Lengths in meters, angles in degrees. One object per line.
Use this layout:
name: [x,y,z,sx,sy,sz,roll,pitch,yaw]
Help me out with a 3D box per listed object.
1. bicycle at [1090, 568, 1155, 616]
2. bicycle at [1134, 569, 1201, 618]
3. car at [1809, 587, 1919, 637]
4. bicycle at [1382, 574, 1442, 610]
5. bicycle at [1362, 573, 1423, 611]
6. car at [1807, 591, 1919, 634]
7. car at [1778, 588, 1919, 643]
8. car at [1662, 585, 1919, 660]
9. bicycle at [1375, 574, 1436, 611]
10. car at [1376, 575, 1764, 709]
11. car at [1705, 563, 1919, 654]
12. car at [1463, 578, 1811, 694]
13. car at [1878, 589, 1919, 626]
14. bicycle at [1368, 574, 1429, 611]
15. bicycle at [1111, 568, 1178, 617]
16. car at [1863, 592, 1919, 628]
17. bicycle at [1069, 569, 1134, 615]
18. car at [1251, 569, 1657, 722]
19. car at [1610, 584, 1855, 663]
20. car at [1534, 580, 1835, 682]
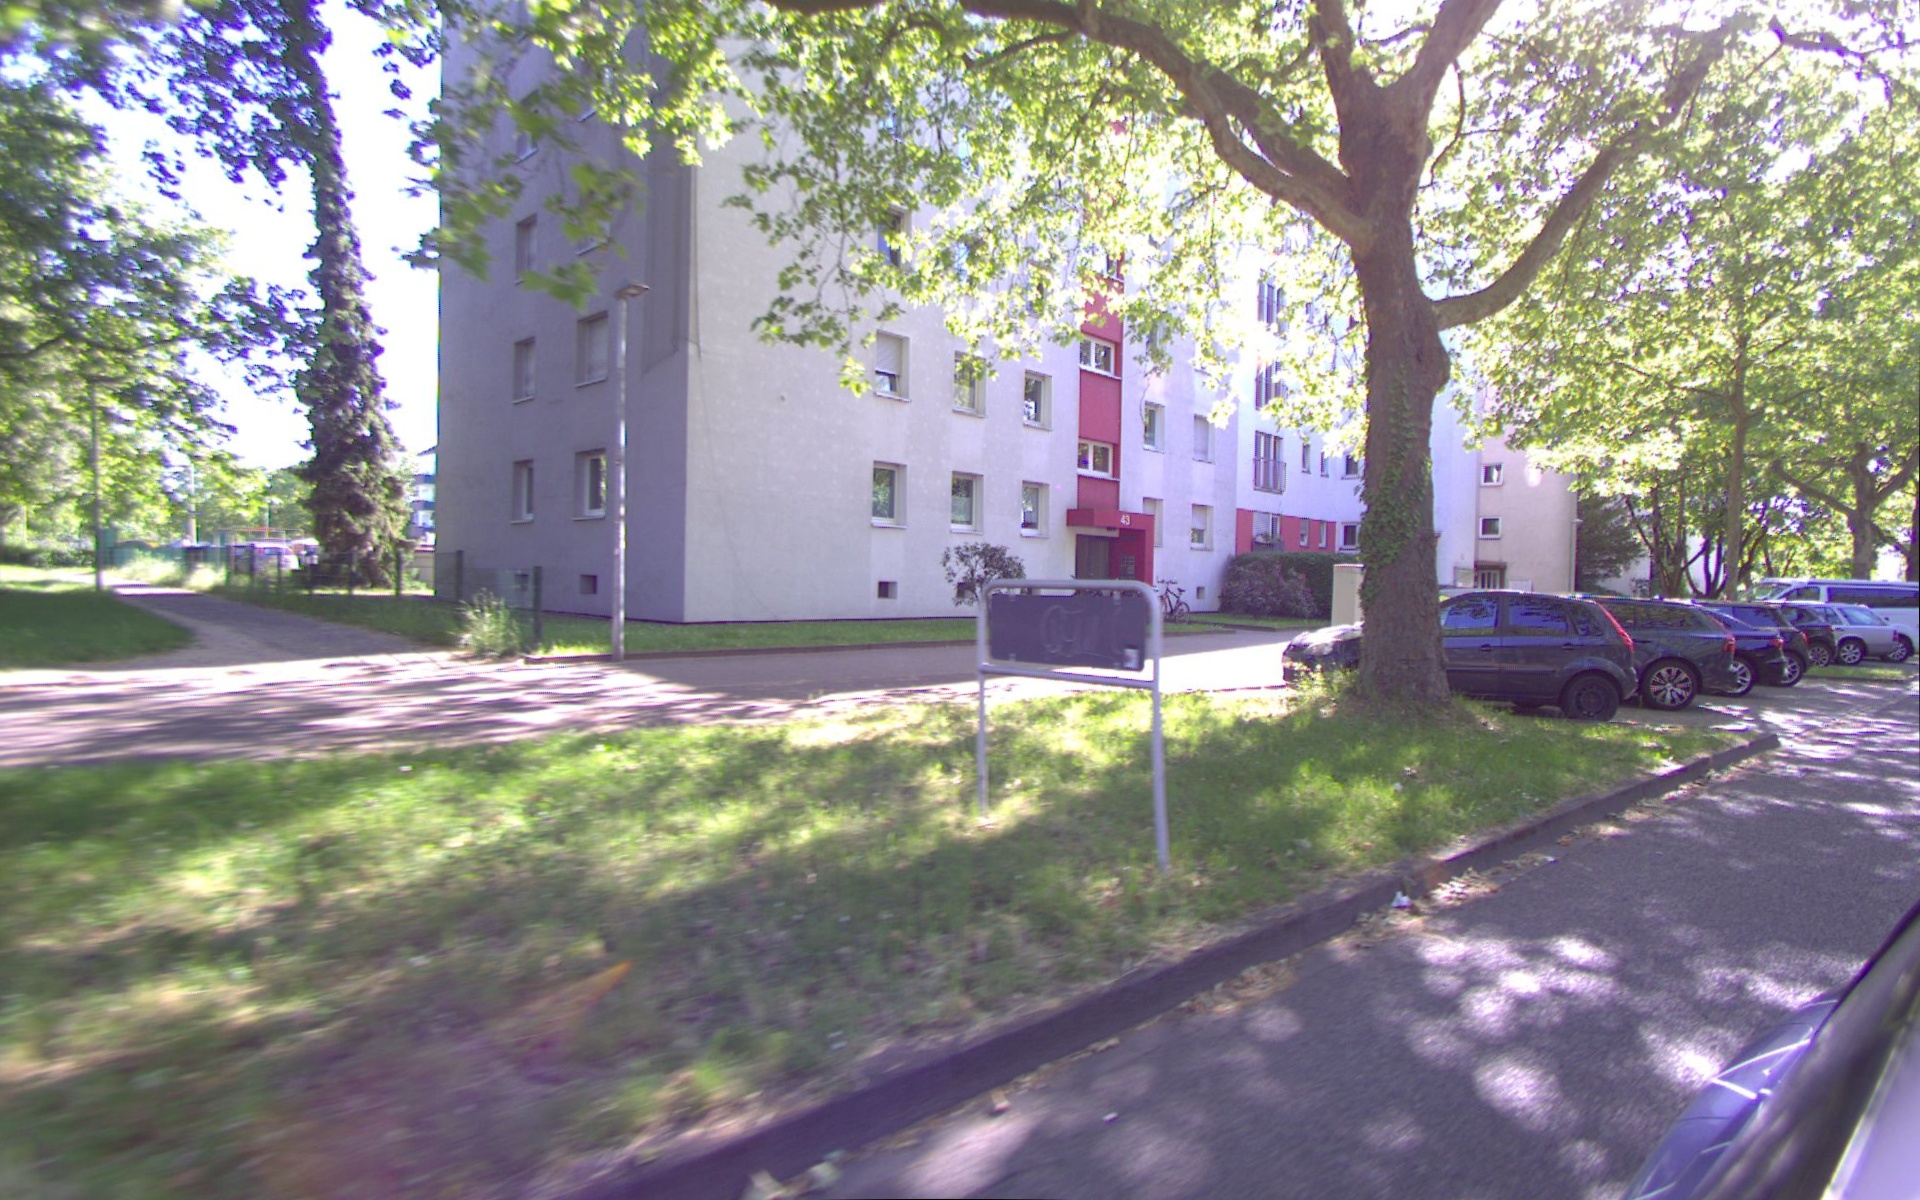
bicycle: [4.008,-0.195,24.890,1.769,1.121,0.591,0,1,-41]
bicycle: [4.918,-0.150,23.946,1.769,1.121,0.591,0,1,-41]
car: [33.840,0.440,36.920,3.932,1.609,1.797,3,3,7]
bicycle: [15.917,-0.285,35.677,0.492,1.143,1.796,0,4,-45]
bicycle: [14.726,-0.273,34.457,0.492,1.143,1.796,0,4,-45]
car: [35.996,0.500,39.237,4.339,1.445,1.946,3,3,10]
car: [29.376,0.496,32.773,4.134,1.528,1.800,3,3,2]
car: [19.965,0.500,24.460,4.514,1.441,1.797,3,3,8]
bicycle: [15.521,-0.277,35.266,0.541,1.143,1.796,0,4,-45]
car: [8.299,0.511,14.177,4.188,1.479,1.796,3,3,10]
car: [22.646,0.188,26.477,4.516,2.077,2.013,3,3,10]
car: [10.671,0.506,16.279,4.188,1.479,1.796,3,3,10]
car: [45.122,0.415,46.505,3.935,1.595,1.796,3,2,9]
bicycle: [15.097,-0.274,34.853,0.492,1.143,1.796,0,4,-45]
bicycle: [4.455,-0.178,24.397,1.769,1.121,0.591,0,1,-41]
car: [41.800,0.485,43.272,4.508,1.440,1.798,2,2,5]
bicycle: [3.576,-0.209,25.429,1.769,1.121,0.591,0,1,-41]
car: [5.745,0.468,12.224,3.930,1.479,1.798,3,3,5]
car: [17.090,0.478,22.570,3.856,1.434,1.798,3,3,7]
car: [12.895,0.503,18.249,3.932,1.485,1.780,3,3,7]
